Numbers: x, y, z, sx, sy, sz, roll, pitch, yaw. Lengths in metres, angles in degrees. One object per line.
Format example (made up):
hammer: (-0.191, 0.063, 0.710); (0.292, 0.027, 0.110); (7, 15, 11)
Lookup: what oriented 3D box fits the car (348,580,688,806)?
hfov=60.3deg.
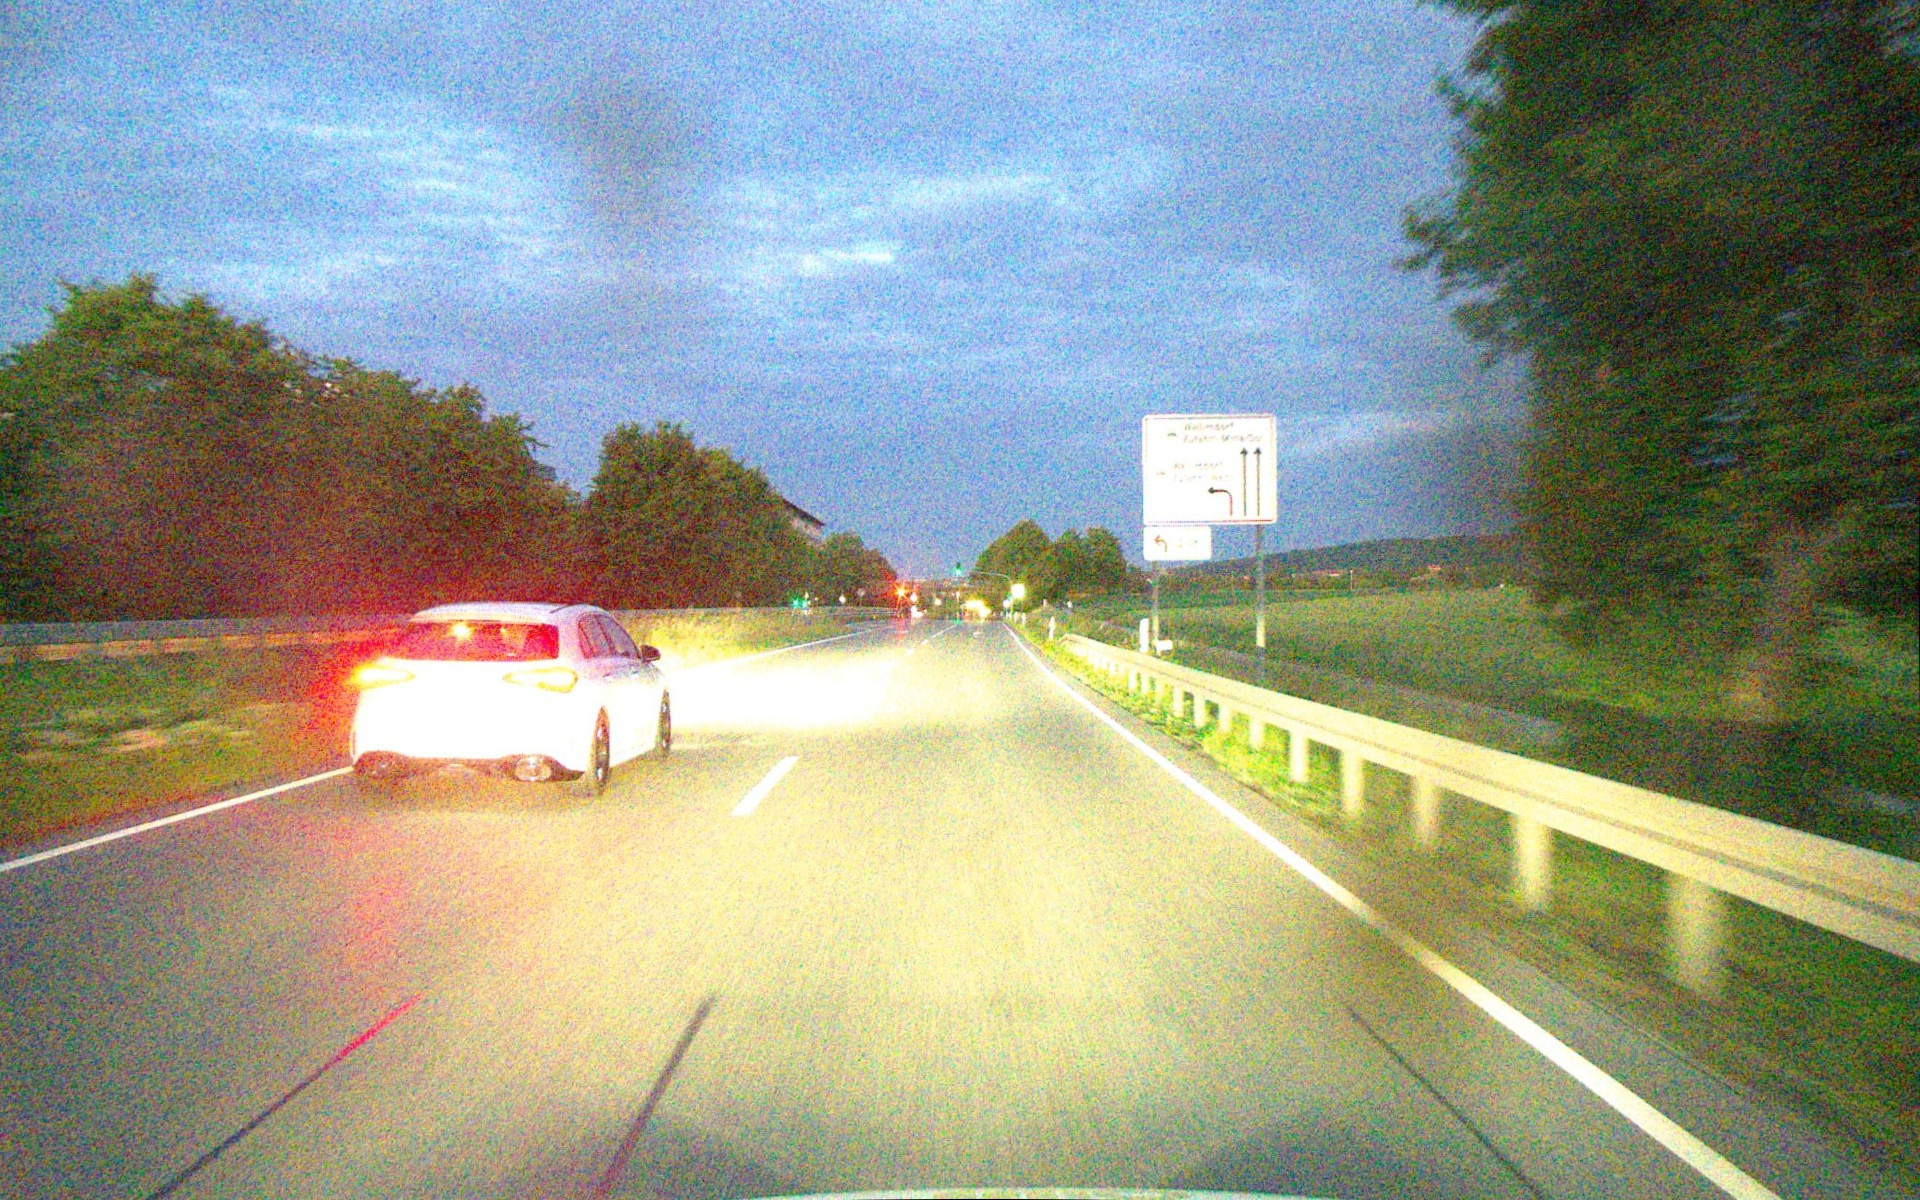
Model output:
car: (-3.394, 0.641, 13.591); (1.608, 1.516, 4.579); (1, 0, -1)

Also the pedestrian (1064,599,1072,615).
pedestrian: (12.529, 0.810, 191.631); (0.903, 1.824, 1.106); (1, 0, 1)

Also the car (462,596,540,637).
car: (-15.998, 0.564, 57.820); (1.596, 1.346, 3.940); (1, 0, 0)
